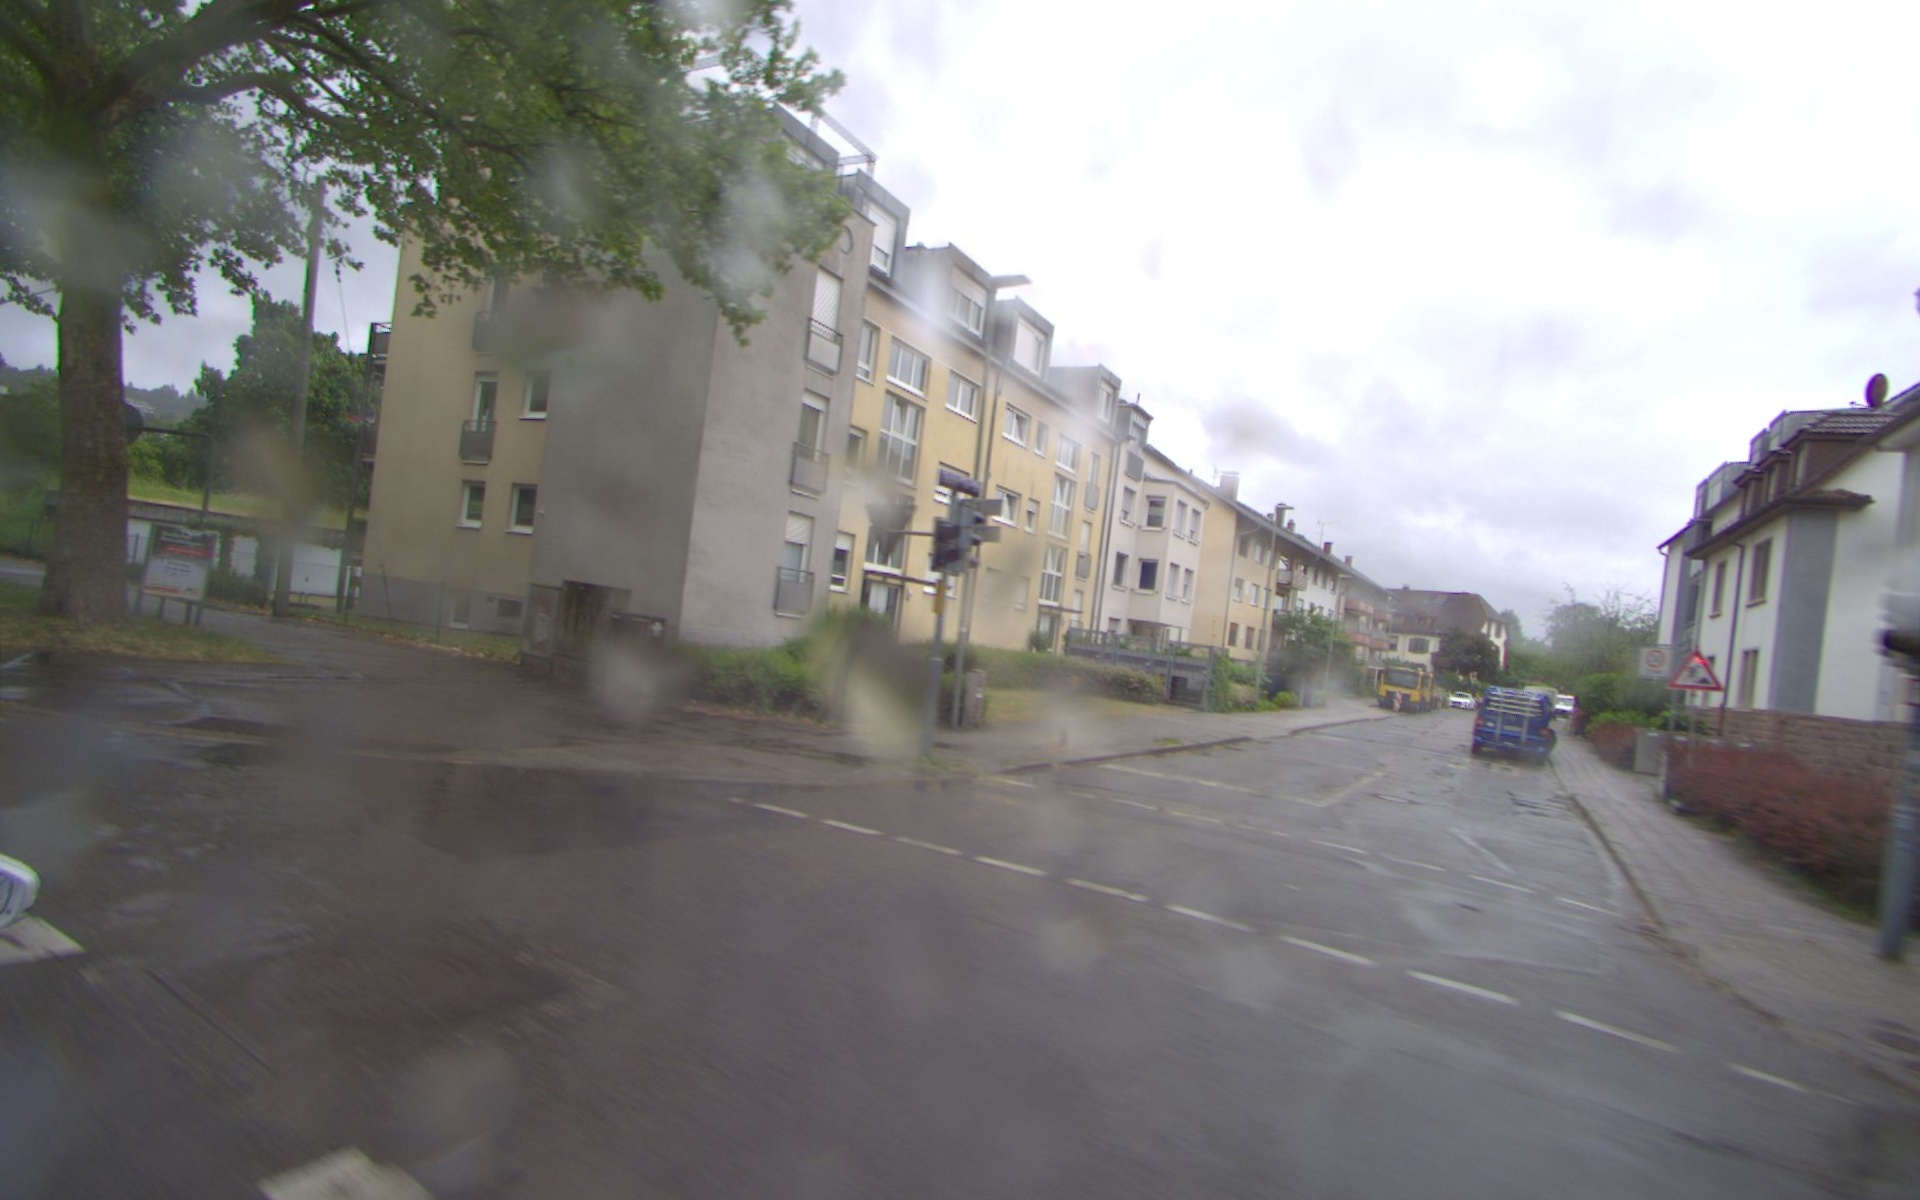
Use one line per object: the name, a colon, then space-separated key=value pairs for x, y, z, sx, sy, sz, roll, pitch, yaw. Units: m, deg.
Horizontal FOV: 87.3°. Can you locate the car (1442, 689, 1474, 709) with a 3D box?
car: x=44.678 y=8.900 z=90.205 sx=1.968 sy=1.481 sz=3.991 roll=6 pitch=-1 yaw=34

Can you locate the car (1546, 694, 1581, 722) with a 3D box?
car: x=55.791 y=9.970 z=92.982 sx=1.903 sy=2.249 sz=3.981 roll=6 pitch=-1 yaw=42

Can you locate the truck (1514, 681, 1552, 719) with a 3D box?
truck: x=47.769 y=8.376 z=83.838 sx=2.049 sy=2.820 sz=5.225 roll=7 pitch=-1 yaw=34

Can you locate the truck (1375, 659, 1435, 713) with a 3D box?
truck: x=28.233 y=5.464 z=63.589 sx=2.499 sy=2.885 sz=8.524 roll=7 pitch=-1 yaw=29

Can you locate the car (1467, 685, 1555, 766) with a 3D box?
car: x=16.058 y=3.592 z=29.382 sx=1.894 sy=1.898 sz=4.677 roll=7 pitch=-1 yaw=29
